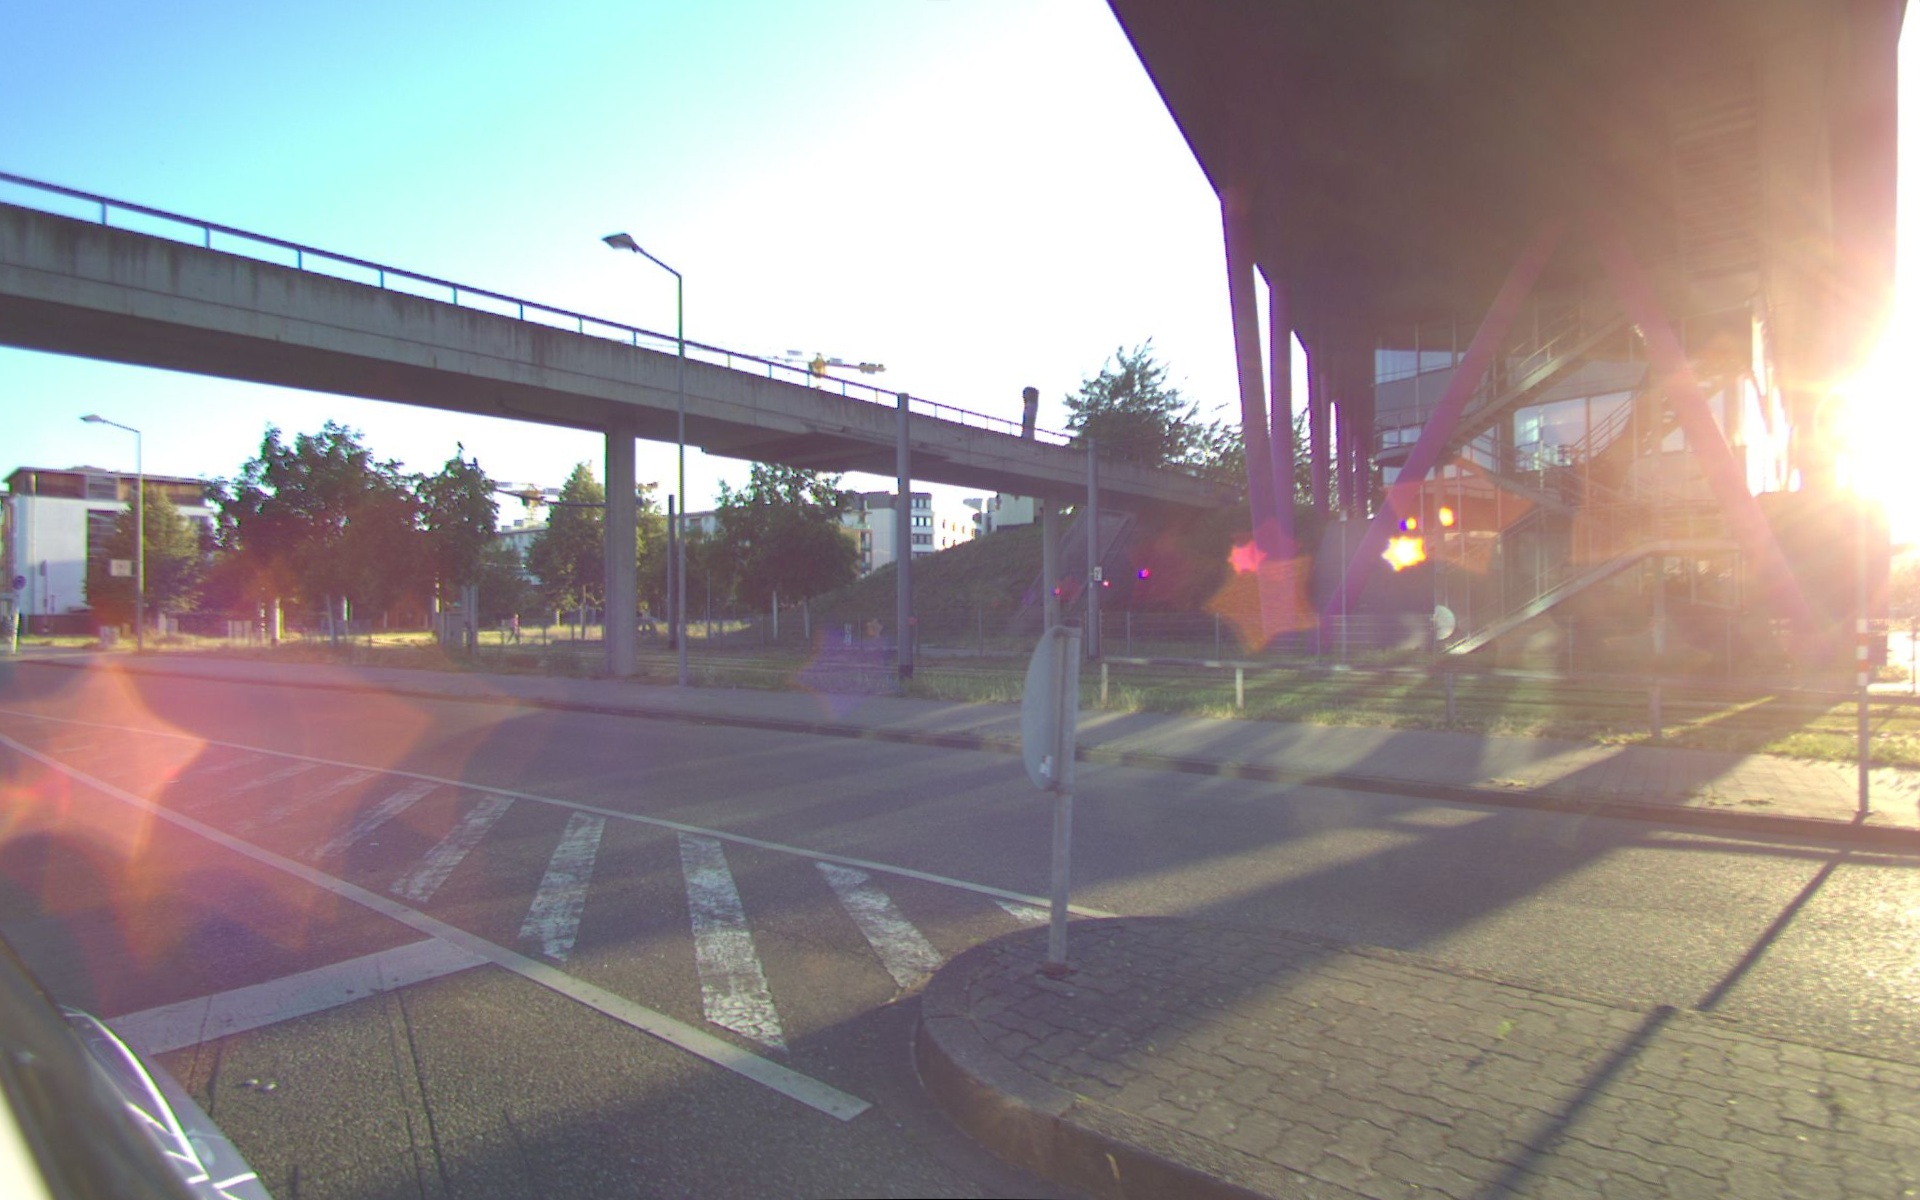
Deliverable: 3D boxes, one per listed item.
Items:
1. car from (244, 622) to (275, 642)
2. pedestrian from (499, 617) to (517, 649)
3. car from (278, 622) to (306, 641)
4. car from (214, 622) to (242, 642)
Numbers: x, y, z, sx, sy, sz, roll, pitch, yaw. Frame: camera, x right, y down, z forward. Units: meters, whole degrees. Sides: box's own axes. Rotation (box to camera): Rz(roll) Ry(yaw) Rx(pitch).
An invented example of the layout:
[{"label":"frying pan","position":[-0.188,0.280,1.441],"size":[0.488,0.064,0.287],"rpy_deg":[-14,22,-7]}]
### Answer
[{"label":"car","position":[-63.718,2.875,92.048],"size":[1.843,1.734,3.850],"rpy_deg":[0,-2,-41]},{"label":"pedestrian","position":[-23.658,1.713,52.967],"size":[0.767,1.623,0.417],"rpy_deg":[0,-2,-39]},{"label":"car","position":[-61.947,2.887,93.803],"size":[1.842,1.734,3.852],"rpy_deg":[0,-1,-39]},{"label":"car","position":[-65.474,2.871,90.460],"size":[1.842,1.734,3.852],"rpy_deg":[0,-1,-38]}]
